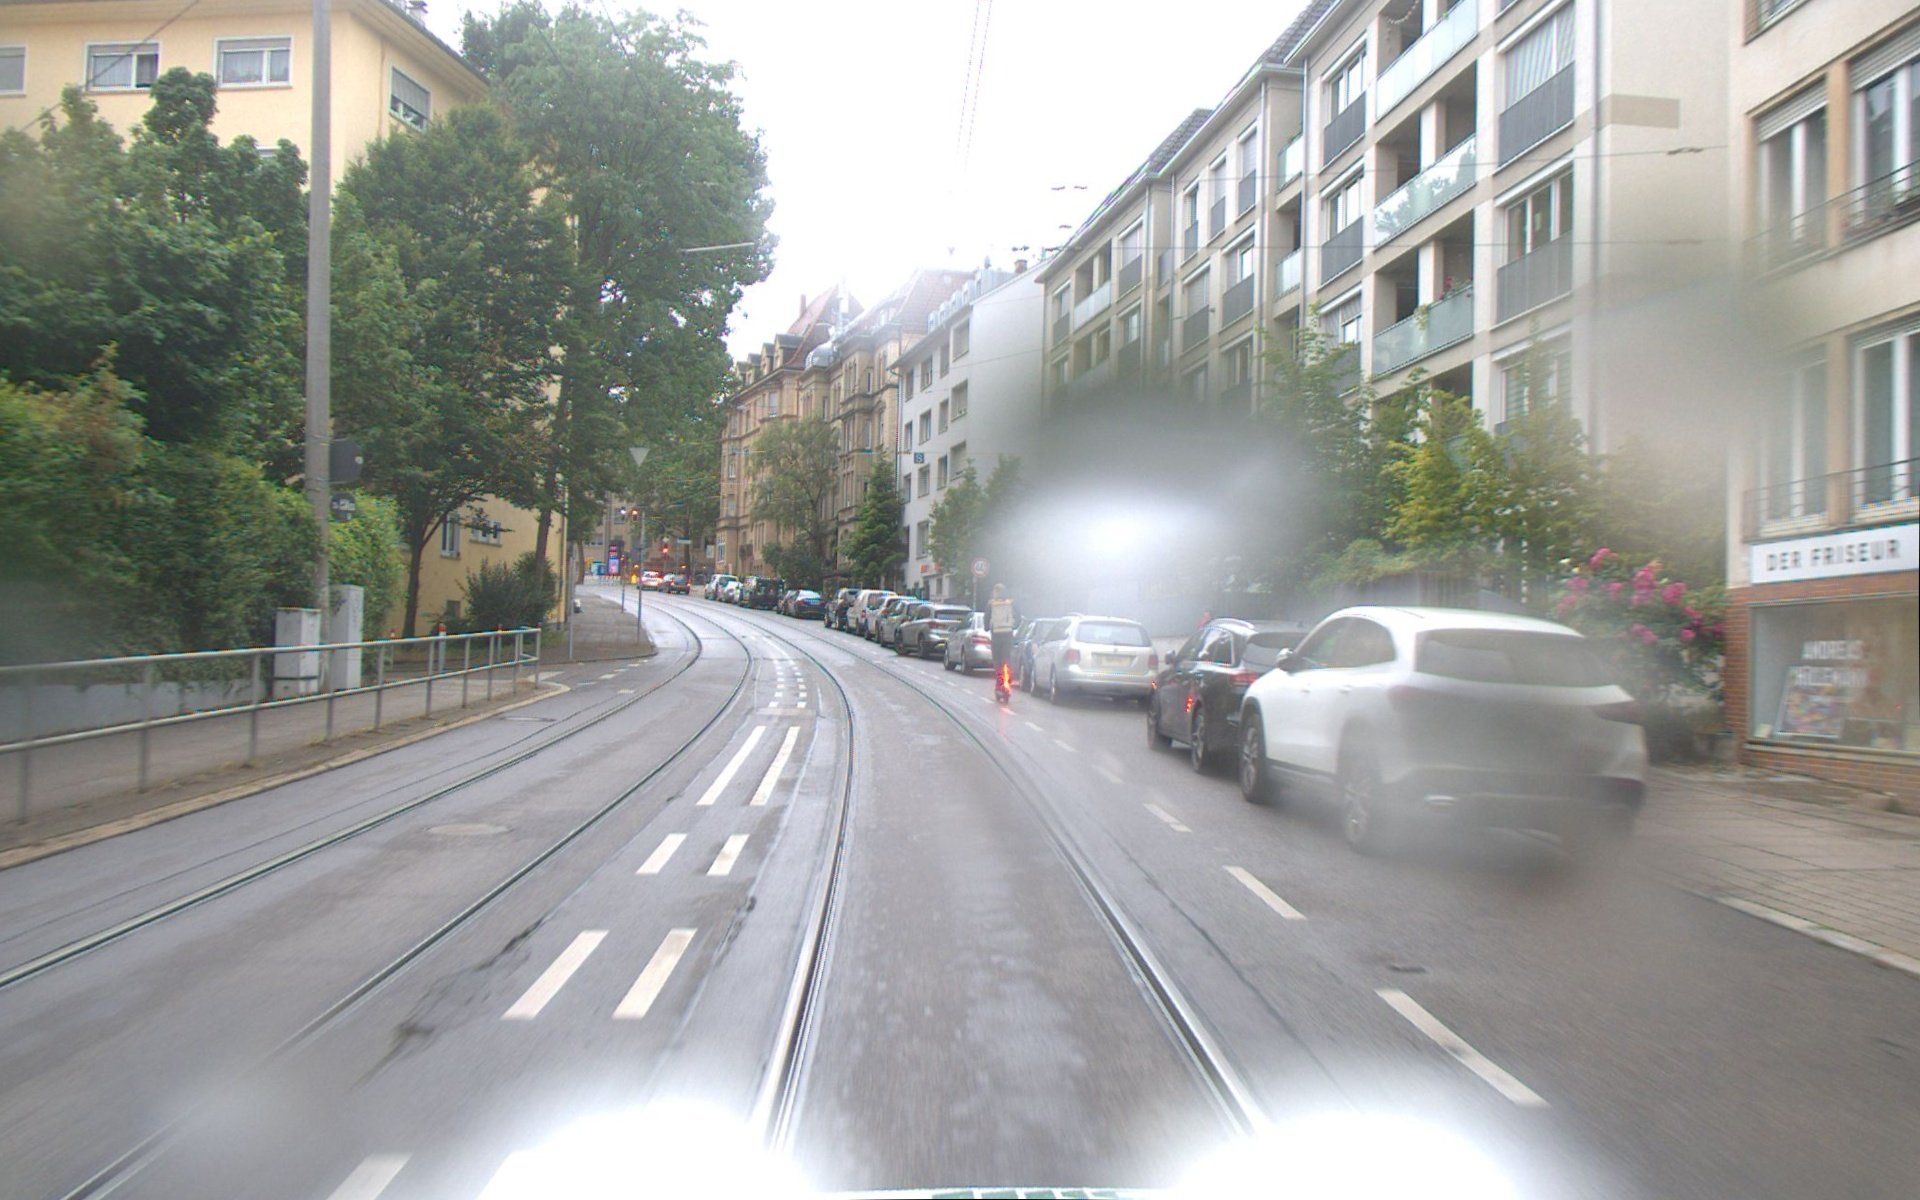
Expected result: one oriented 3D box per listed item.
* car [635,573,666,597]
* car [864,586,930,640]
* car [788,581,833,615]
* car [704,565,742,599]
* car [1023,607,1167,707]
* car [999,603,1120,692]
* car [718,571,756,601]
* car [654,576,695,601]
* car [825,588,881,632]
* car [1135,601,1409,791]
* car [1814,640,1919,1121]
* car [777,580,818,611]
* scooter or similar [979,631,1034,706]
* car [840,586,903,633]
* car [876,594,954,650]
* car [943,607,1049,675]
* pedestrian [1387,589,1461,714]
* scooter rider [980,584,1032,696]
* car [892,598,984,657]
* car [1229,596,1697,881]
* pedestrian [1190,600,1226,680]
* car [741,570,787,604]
[{"bbox_3d":[-25.009,-1.224,133.669,1.829,1.764,4.116,3,0,-19],"label":"car"},{"bbox_3d":[-2.360,0.446,61.093,1.735,1.818,4.237,3,0,-11],"label":"car"},{"bbox_3d":[-7.730,-0.124,85.102,1.736,1.544,4.127,3,0,-13],"label":"car"},{"bbox_3d":[-16.479,-1.262,114.961,1.995,2.256,4.122,3,0,-16],"label":"car"},{"bbox_3d":[2.223,0.913,28.342,1.629,1.497,4.502,3,-1,-6],"label":"car"},{"bbox_3d":[1.924,0.901,32.950,1.669,1.538,3.708,3,0,-7],"label":"car"},{"bbox_3d":[-14.833,-0.939,109.933,1.994,1.856,4.125,3,0,-14],"label":"car"},{"bbox_3d":[-22.136,-0.912,128.194,2.004,1.764,4.104,3,1,-27],"label":"car"},{"bbox_3d":[-4.690,0.389,71.823,1.736,1.713,4.235,3,0,-13],"label":"car"},{"bbox_3d":[3.056,0.871,17.185,1.668,1.538,4.568,4,0,-3],"label":"car"},{"bbox_3d":[3.816,0.918,3.567,1.525,1.462,4.301,2,0,-3],"label":"car"},{"bbox_3d":[-8.877,-0.276,90.061,1.622,1.563,3.875,-1,2,-14],"label":"car"},{"bbox_3d":[0.735,1.083,26.762,0.504,1.067,2.005,4,0,-8],"label":"scooter or similar"},{"bbox_3d":[-3.627,0.348,67.191,1.736,1.713,4.233,3,0,-14],"label":"car"},{"bbox_3d":[-1.539,0.712,55.345,1.736,1.643,4.234,3,0,-13],"label":"car"},{"bbox_3d":[0.802,0.945,40.021,1.730,1.460,4.629,1,0,-9],"label":"car"},{"bbox_3d":[6.000,0.653,21.431,0.559,1.569,0.927,-1,0,-11],"label":"pedestrian"},{"bbox_3d":[0.733,0.633,26.785,0.611,1.735,0.842,4,0,-8],"label":"scooter rider"},{"bbox_3d":[-0.704,0.791,49.751,1.737,1.643,4.230,1,0,-15],"label":"car"},{"bbox_3d":[3.423,0.847,12.209,1.801,1.600,4.244,4,0,-5],"label":"car"},{"bbox_3d":[4.910,0.785,32.774,0.558,1.569,0.650,-1,0,-3],"label":"pedestrian"},{"bbox_3d":[-11.753,-0.820,99.024,1.995,1.856,4.348,3,0,-17],"label":"car"}]
